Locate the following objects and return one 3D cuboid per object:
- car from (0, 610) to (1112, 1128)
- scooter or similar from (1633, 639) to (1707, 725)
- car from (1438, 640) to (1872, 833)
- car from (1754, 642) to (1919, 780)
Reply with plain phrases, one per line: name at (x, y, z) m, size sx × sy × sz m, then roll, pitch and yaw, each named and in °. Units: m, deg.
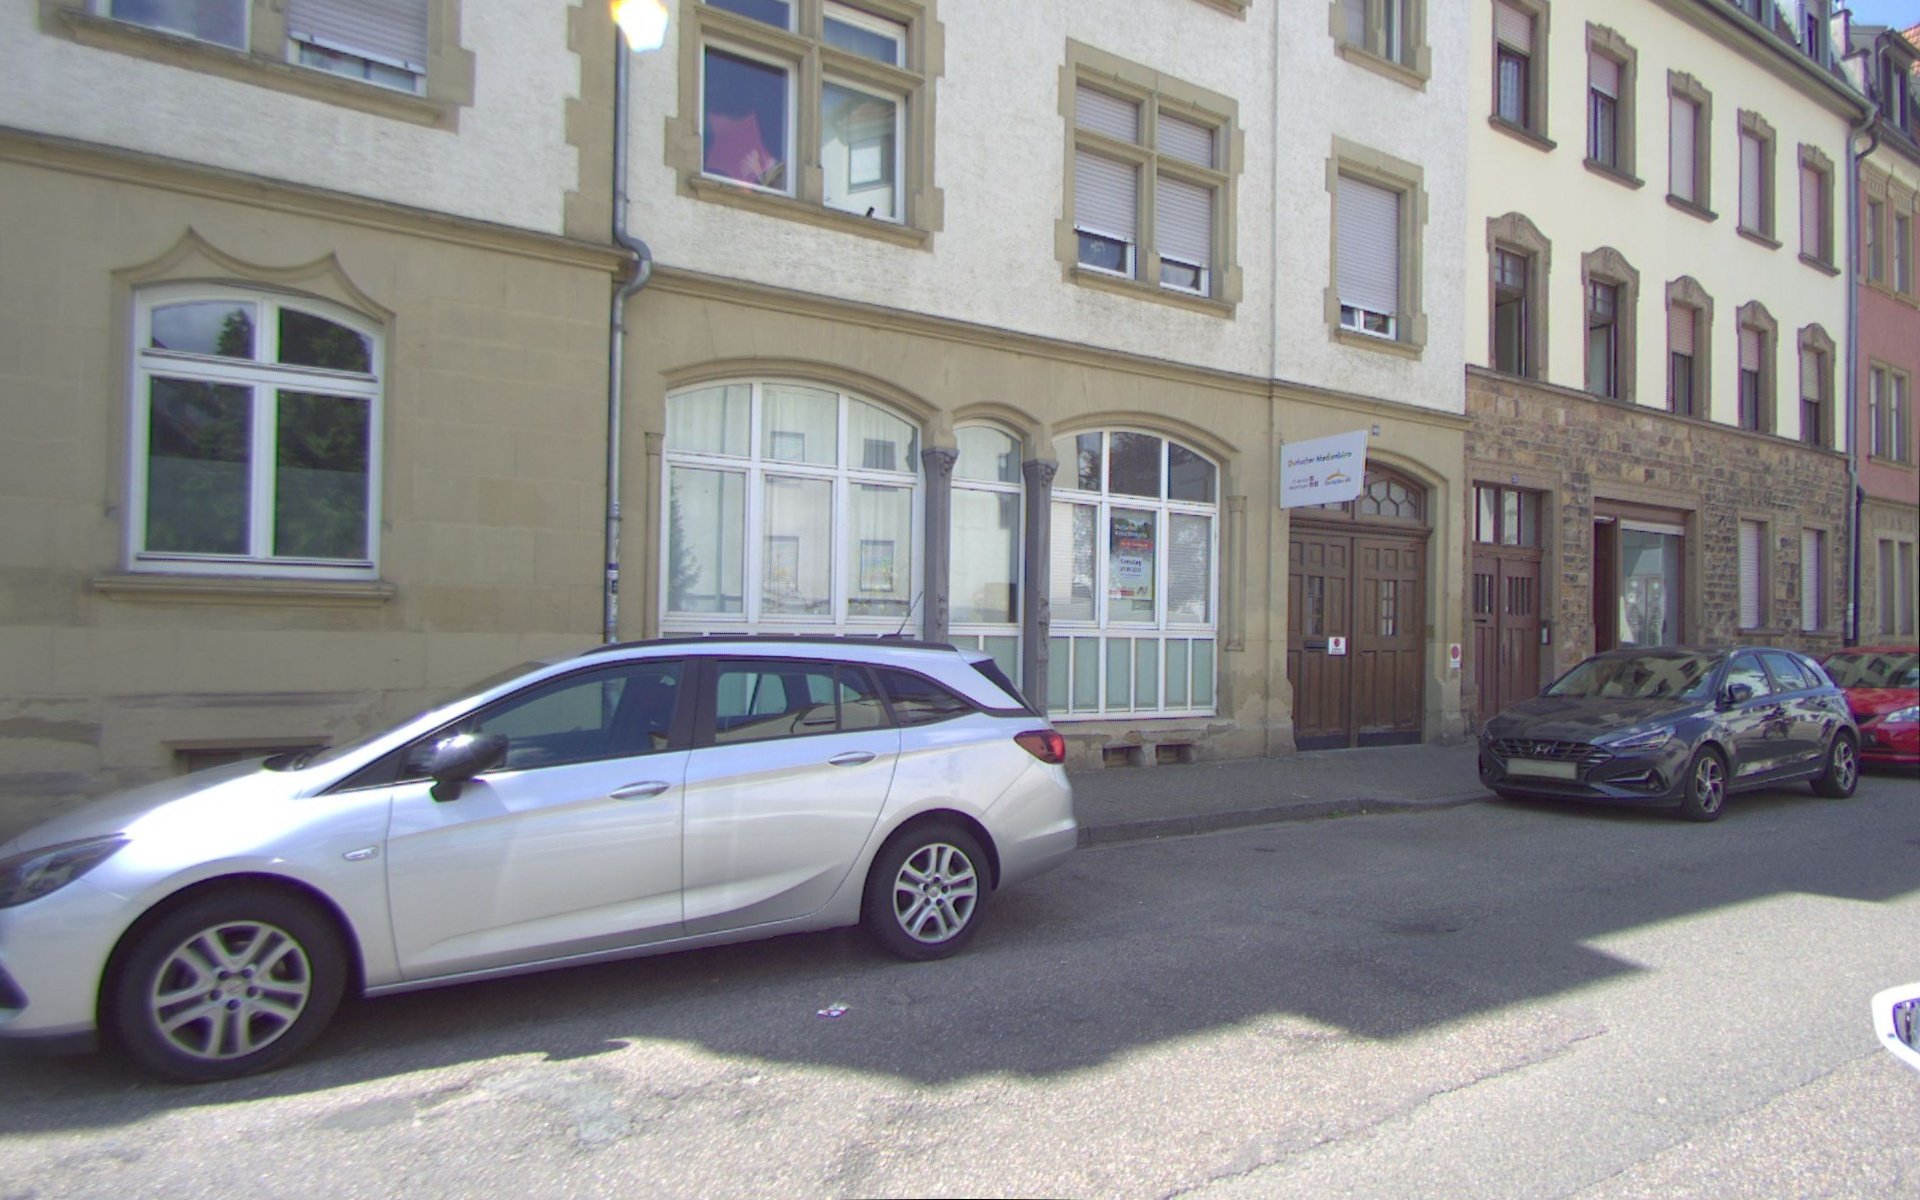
car at (-1.563, 0.863, 4.784) m, size 4.329 × 1.530 × 1.870 m, roll 1°, pitch -2°, yaw -30°
scooter or similar at (10.597, 1.207, 14.991) m, size 1.304 × 1.236 × 0.373 m, roll 1°, pitch -2°, yaw -30°
car at (6.686, 1.125, 9.581) m, size 4.170 × 1.457 × 1.863 m, roll 1°, pitch -2°, yaw -31°
car at (11.379, 1.252, 12.207) m, size 3.455 × 1.461 × 1.591 m, roll 2°, pitch -3°, yaw -31°
